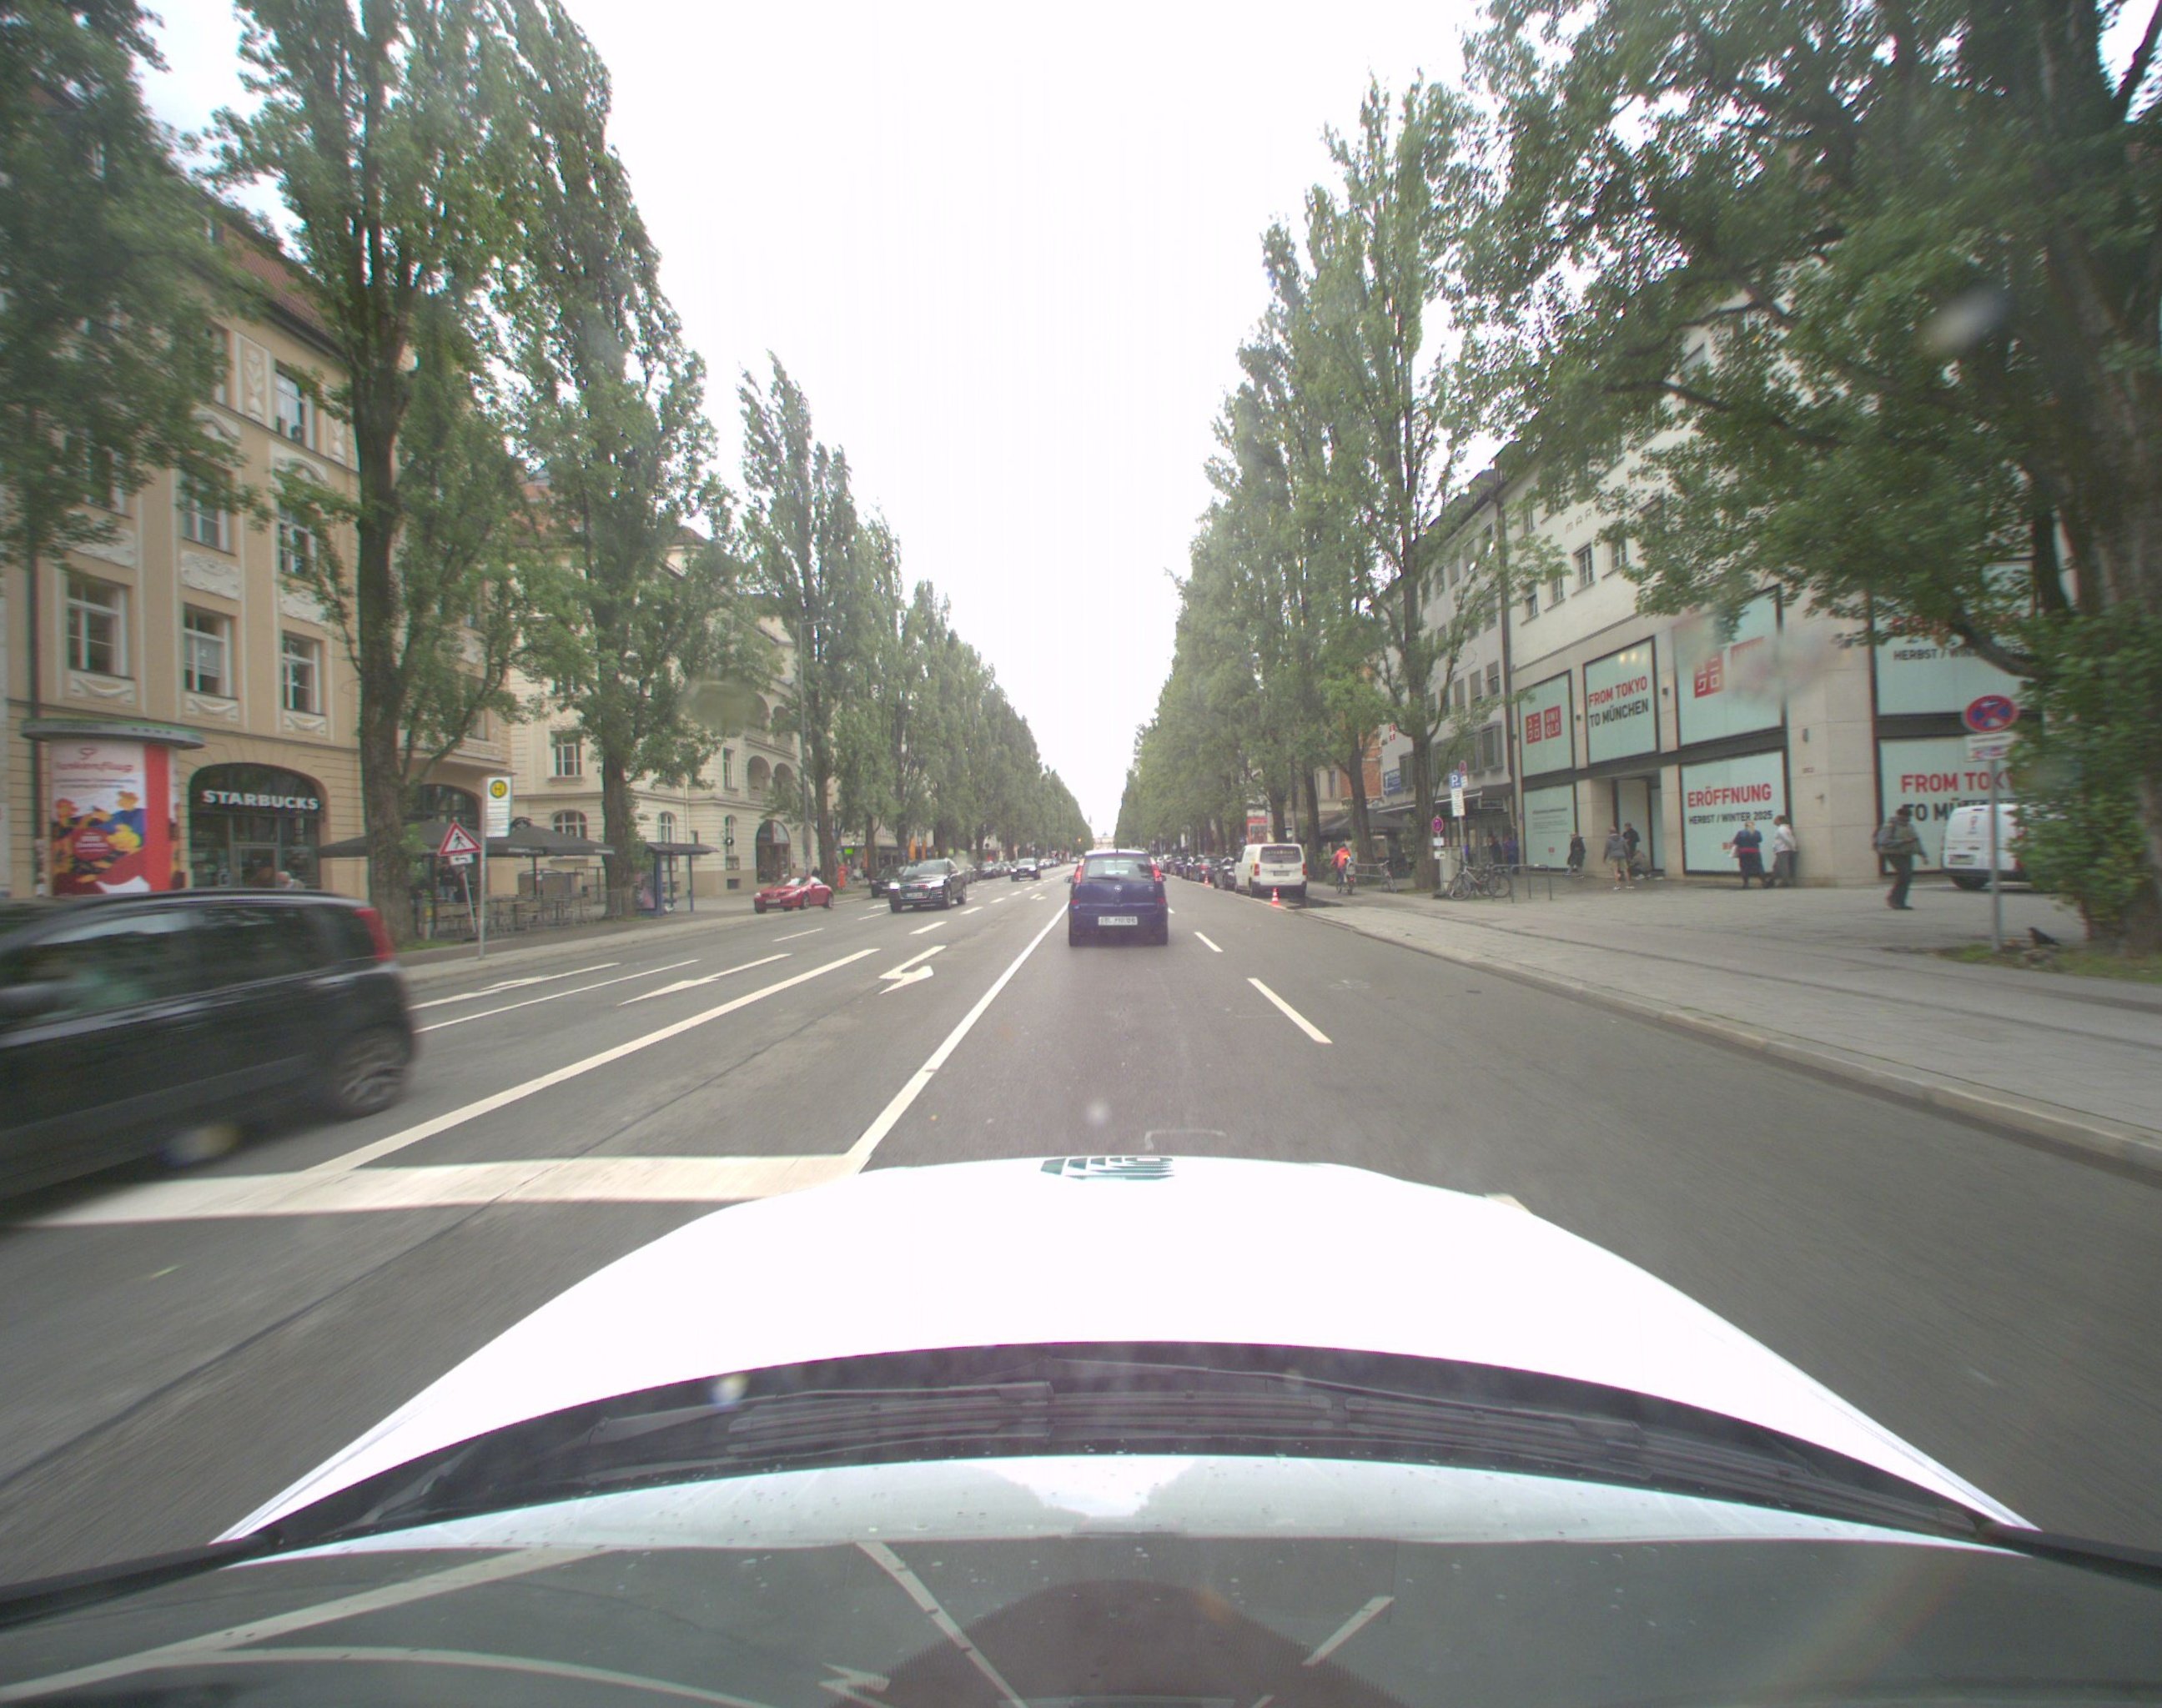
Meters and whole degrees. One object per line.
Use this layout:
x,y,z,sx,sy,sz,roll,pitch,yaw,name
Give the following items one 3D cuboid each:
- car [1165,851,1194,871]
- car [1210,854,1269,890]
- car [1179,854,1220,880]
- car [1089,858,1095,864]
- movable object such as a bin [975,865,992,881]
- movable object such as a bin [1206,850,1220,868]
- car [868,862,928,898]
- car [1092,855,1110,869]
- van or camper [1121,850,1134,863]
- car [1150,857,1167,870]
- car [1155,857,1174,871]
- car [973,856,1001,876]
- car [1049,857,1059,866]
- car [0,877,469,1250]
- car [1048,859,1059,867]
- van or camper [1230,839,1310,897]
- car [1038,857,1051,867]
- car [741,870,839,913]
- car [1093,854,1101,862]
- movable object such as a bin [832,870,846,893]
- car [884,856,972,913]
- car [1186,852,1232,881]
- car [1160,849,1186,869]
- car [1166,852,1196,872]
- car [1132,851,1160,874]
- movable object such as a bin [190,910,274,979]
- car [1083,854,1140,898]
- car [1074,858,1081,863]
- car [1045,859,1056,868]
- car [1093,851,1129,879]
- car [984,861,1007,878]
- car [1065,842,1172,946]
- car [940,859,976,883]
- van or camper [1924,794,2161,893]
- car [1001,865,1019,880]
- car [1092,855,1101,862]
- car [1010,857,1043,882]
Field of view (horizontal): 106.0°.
8.225,0.566,68.339,1.986,1.565,4.484,-2,0,1,car
6.762,0.734,35.208,1.714,1.442,4.353,0,0,0,car
7.389,0.787,51.223,1.872,1.432,4.804,-2,0,1,car
3.192,1.941,241.040,1.828,1.677,3.779,-2,0,1,car
-8.338,1.645,69.507,1.272,1.310,0.902,-2,0,1,movable object such as a bin
12.900,0.480,79.831,1.030,1.703,1.585,-2,0,-2,movable object such as a bin
-9.477,1.315,42.589,1.813,1.618,4.719,-3,0,2,car
2.304,0.952,94.964,1.987,1.497,4.000,-2,0,1,car
9.471,0.512,166.337,2.467,2.581,5.847,-2,0,2,van or camper
8.769,1.037,92.619,1.676,1.415,3.583,0,0,1,car
8.591,0.988,84.055,1.664,1.406,4.128,0,0,1,car
-8.630,1.097,74.882,1.858,1.654,4.616,-4,0,1,car
-5.579,1.535,168.866,1.986,1.662,4.001,-2,0,1,car
-5.318,0.952,4.102,1.556,1.496,3.695,-3,0,1,car
-5.543,1.844,162.143,1.955,1.549,3.779,-2,0,1,car
6.790,0.486,29.796,1.862,1.883,4.904,-1,0,1,van or camper
-5.831,1.285,129.762,1.823,1.420,3.812,-1,-1,1,car
-10.385,1.301,29.412,1.872,1.298,4.096,-2,0,2,car
3.899,0.988,195.011,1.828,1.761,3.779,-2,0,1,car
-14.276,1.601,47.990,0.602,1.316,0.586,-2,-1,2,movable object such as a bin
-5.027,0.931,27.333,1.906,1.681,4.587,-2,0,1,car
7.199,0.667,46.167,1.812,1.506,4.229,-2,0,-2,car
8.312,0.415,73.928,1.821,1.621,4.748,-3,0,1,car
7.526,0.600,61.467,1.743,1.405,4.465,-2,0,1,car
4.705,0.626,59.422,1.700,1.574,4.001,-2,0,1,car
-14.121,1.481,13.579,0.726,1.041,0.848,0,-1,-27,movable object such as a bin
1.134,0.796,31.288,1.987,1.497,4.000,-2,0,1,car
-1.171,1.929,249.323,1.955,1.549,3.779,-2,0,1,car
-5.699,1.715,152.880,1.955,1.530,4.000,-2,0,0,car
1.730,0.617,48.136,1.987,1.497,4.000,-2,0,1,car
-8.400,1.528,80.005,1.692,1.550,4.082,-2,0,1,car
0.629,0.643,15.068,1.675,1.641,4.000,-1,0,1,car
-8.740,1.215,58.346,1.775,1.575,4.134,-2,0,2,car
20.146,-0.197,16.436,4.084,1.867,1.901,-1,-1,5,van or camper
-8.085,2.075,92.922,1.566,1.534,2.925,-2,0,4,car
3.685,1.047,189.023,1.955,1.399,3.779,-2,0,1,car
-4.012,1.125,60.167,1.928,1.623,4.337,-4,0,1,car
